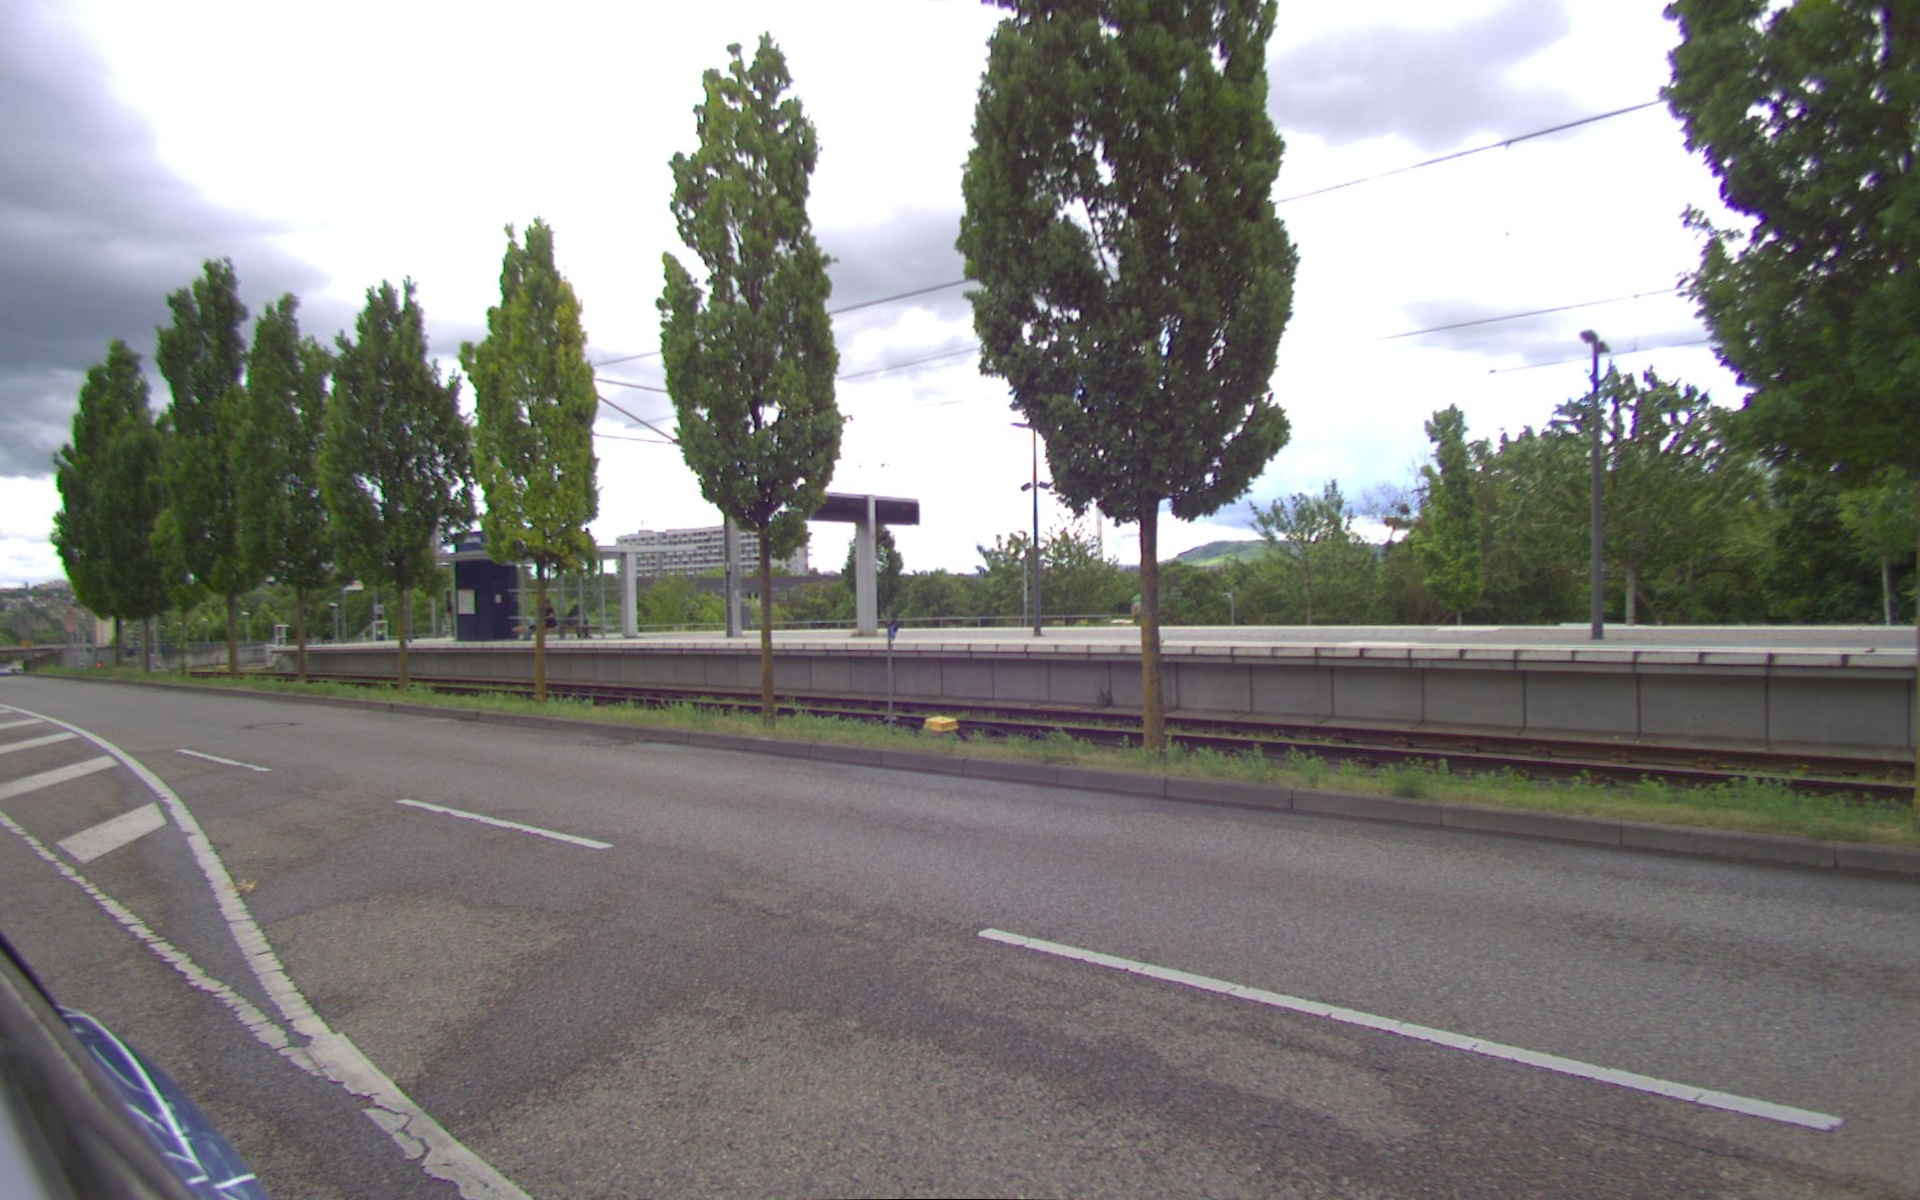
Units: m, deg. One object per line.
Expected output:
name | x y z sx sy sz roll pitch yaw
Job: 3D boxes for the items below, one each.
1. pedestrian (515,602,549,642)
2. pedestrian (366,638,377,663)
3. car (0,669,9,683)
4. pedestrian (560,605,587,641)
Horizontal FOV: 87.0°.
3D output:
pedestrian | -13.264 0.685 31.385 0.665 1.208 0.753 -3 -2 40
pedestrian | -38.840 3.341 66.777 0.501 1.637 0.646 0 -3 -44
car | -114.044 9.053 120.078 1.696 1.533 3.747 0 -3 -44
pedestrian | -11.981 0.721 31.381 0.470 1.087 0.601 -4 -3 40
